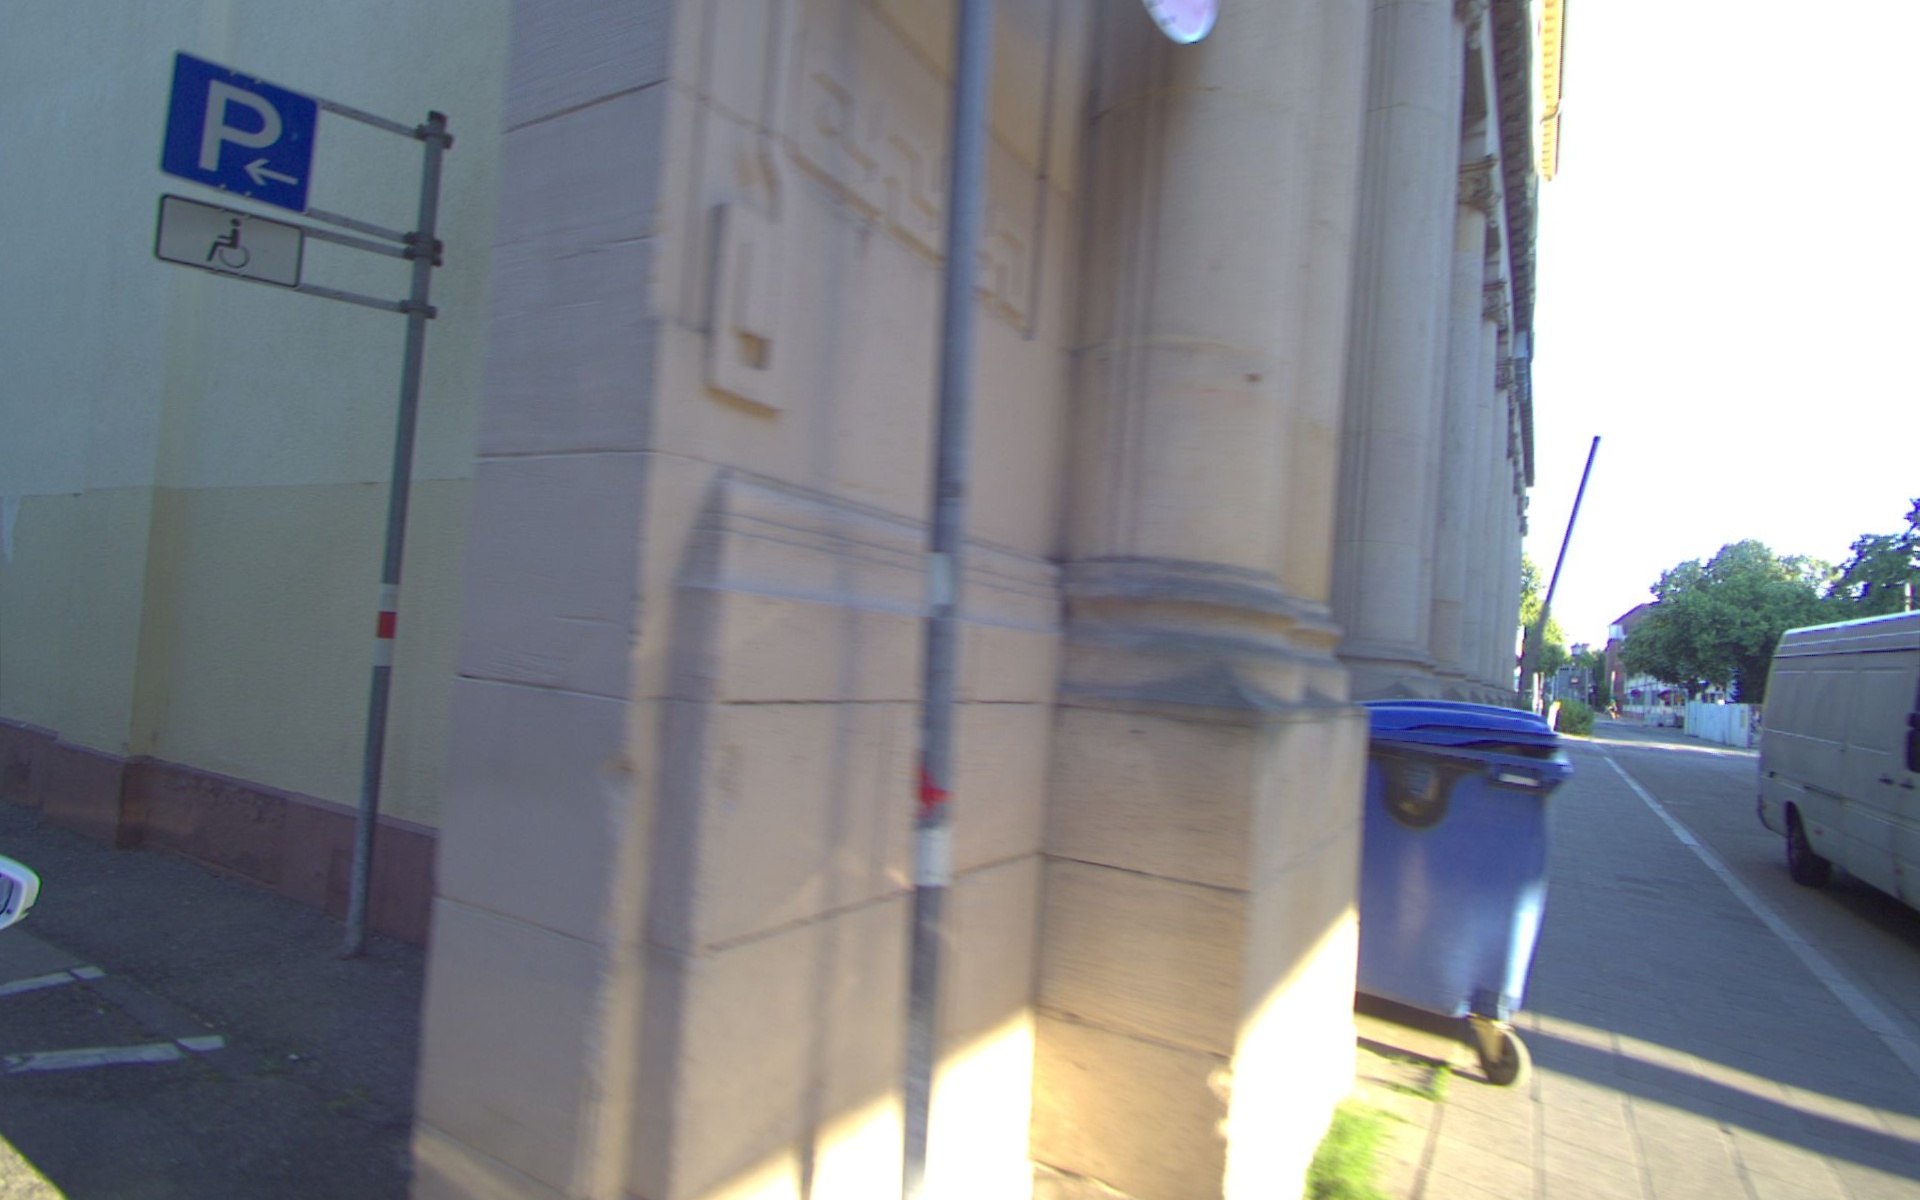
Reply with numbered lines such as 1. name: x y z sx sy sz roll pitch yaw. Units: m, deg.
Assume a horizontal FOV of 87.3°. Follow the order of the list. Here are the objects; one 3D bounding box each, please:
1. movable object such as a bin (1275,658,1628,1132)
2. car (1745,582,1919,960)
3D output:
1. movable object such as a bin: 2.070 1.058 4.164 1.060 1.492 1.184 4 -2 34
2. car: 8.091 1.284 7.767 1.968 2.540 6.465 1 -4 27
